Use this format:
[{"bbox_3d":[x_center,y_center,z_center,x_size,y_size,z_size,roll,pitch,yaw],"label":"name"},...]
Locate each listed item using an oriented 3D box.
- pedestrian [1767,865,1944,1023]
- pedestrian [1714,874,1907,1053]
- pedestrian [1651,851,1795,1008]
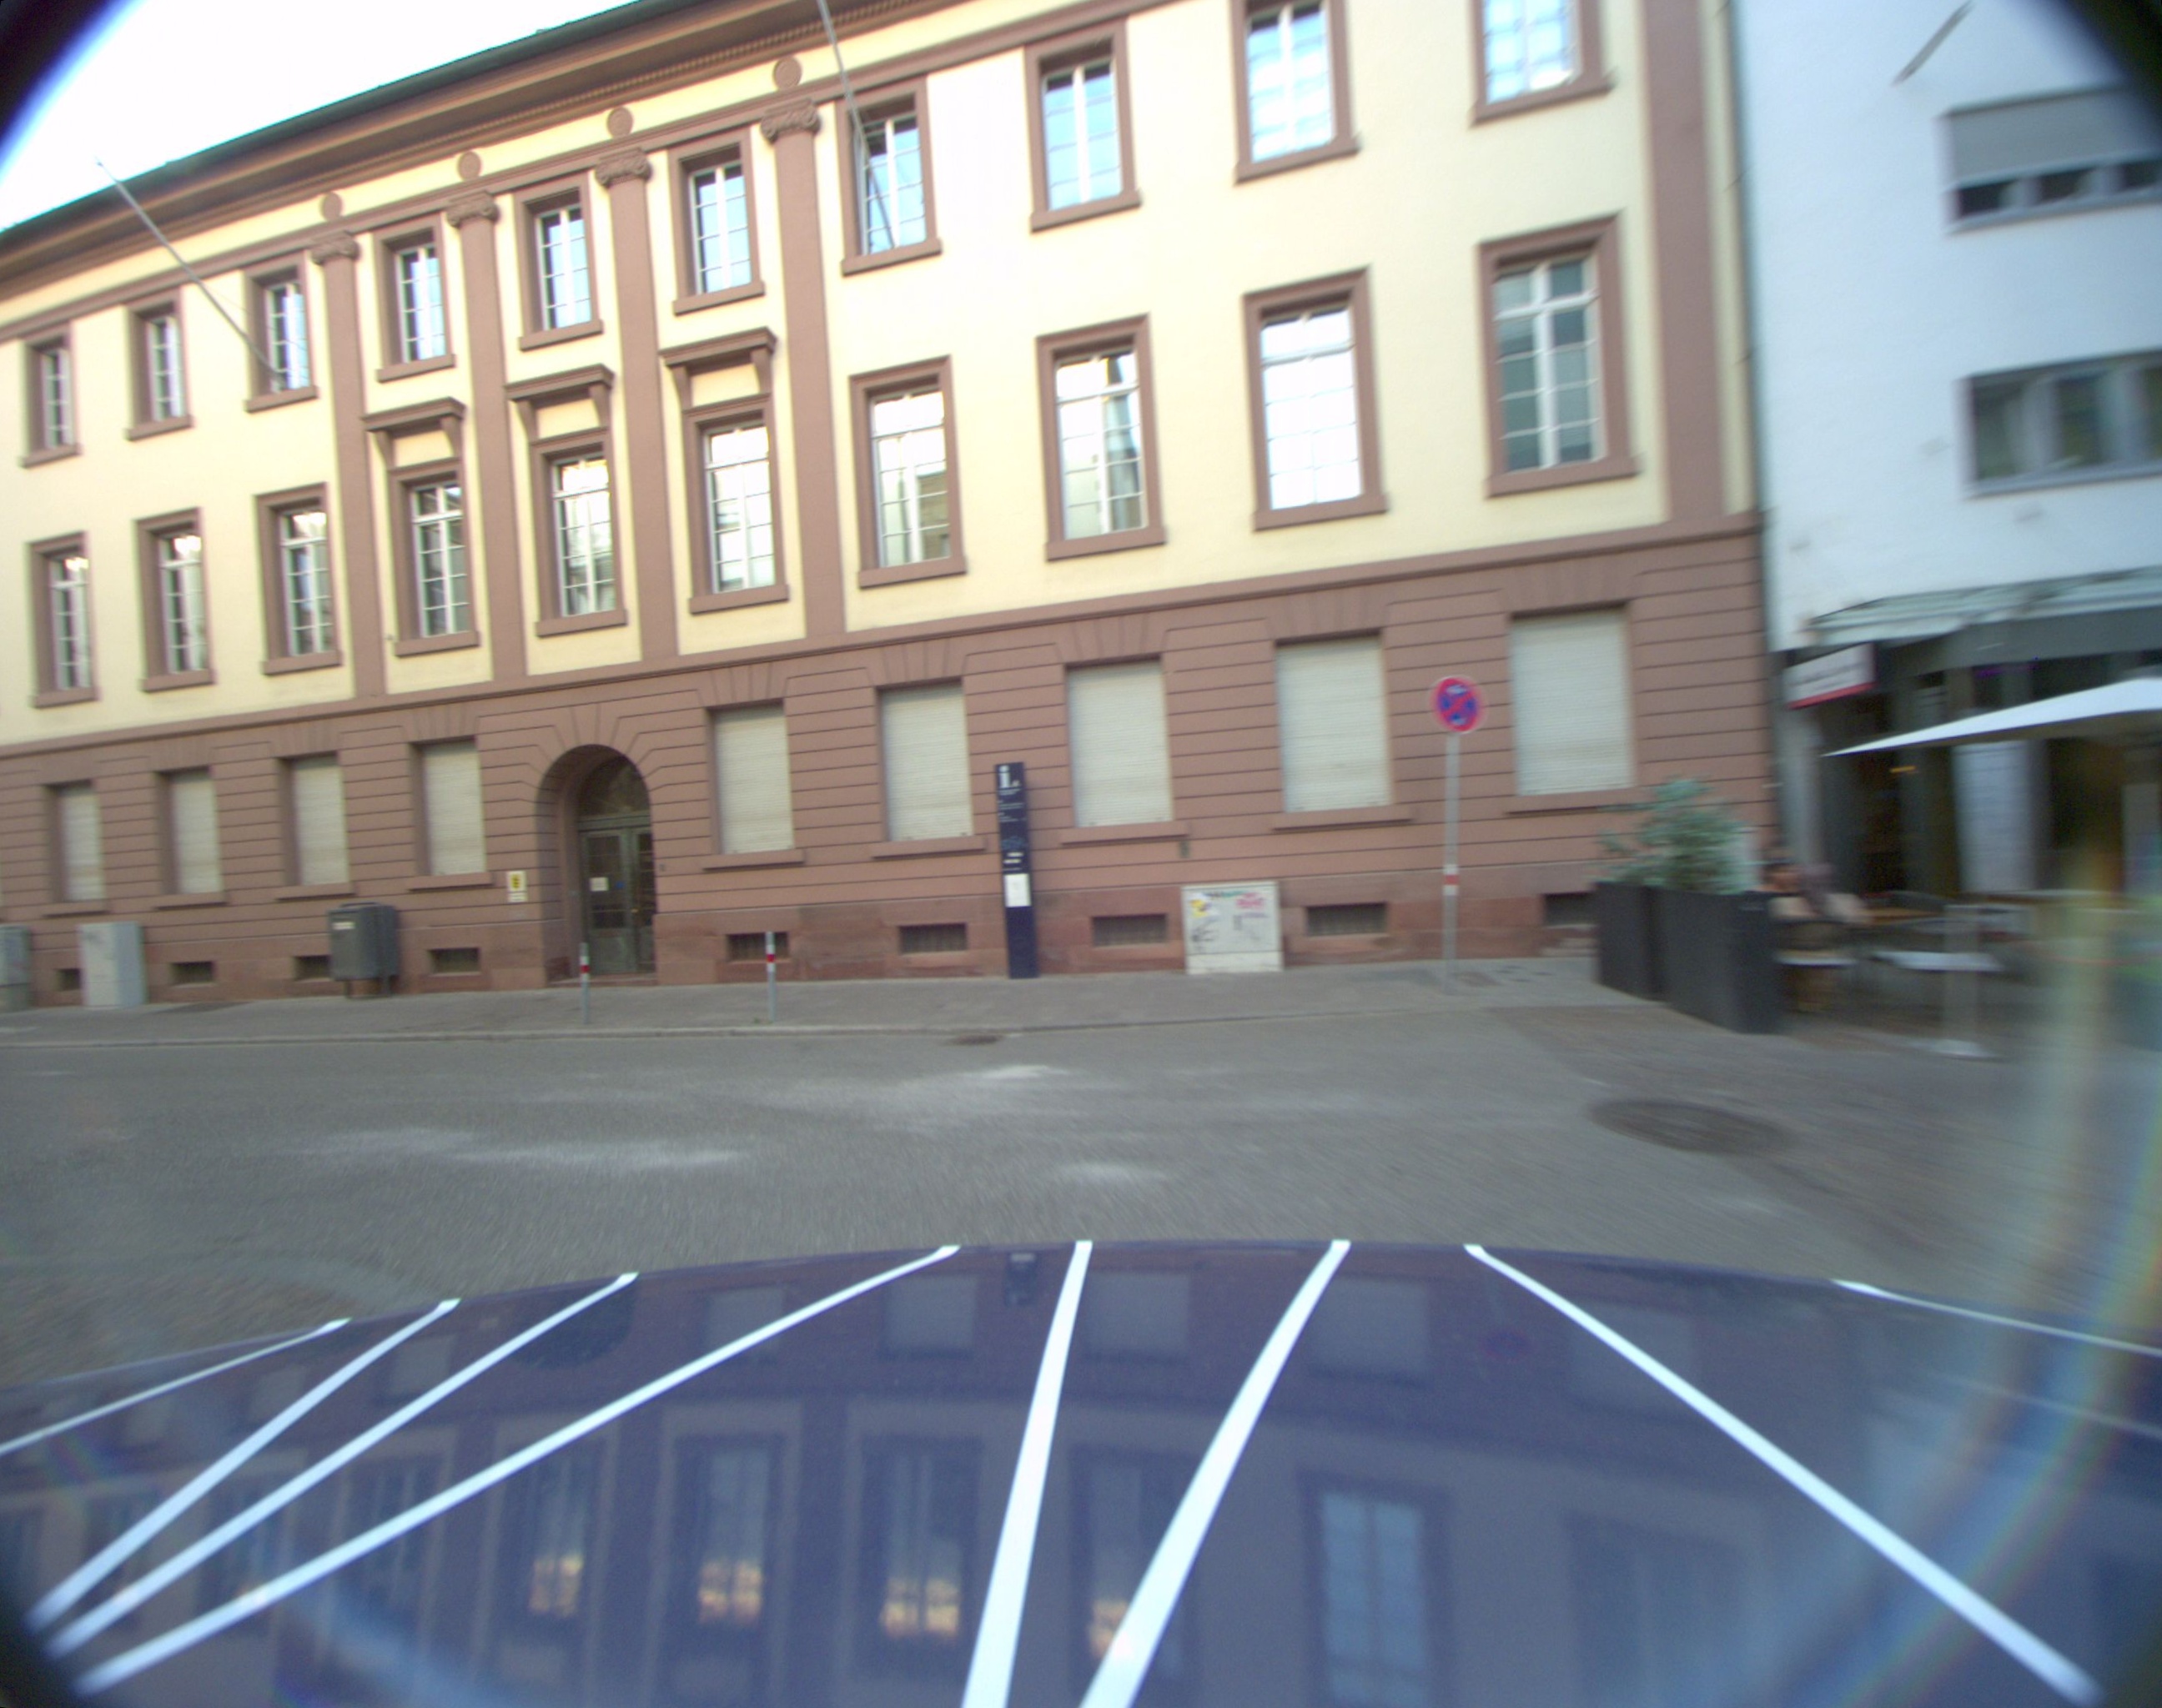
[{"bbox_3d":[6.405,0.721,6.334,0.672,1.177,0.793,-4,2,10],"label":"pedestrian"},{"bbox_3d":[5.409,0.781,5.689,0.673,1.177,0.793,-4,2,6],"label":"pedestrian"},{"bbox_3d":[5.905,0.664,7.035,0.672,1.323,0.793,-4,2,10],"label":"pedestrian"}]
